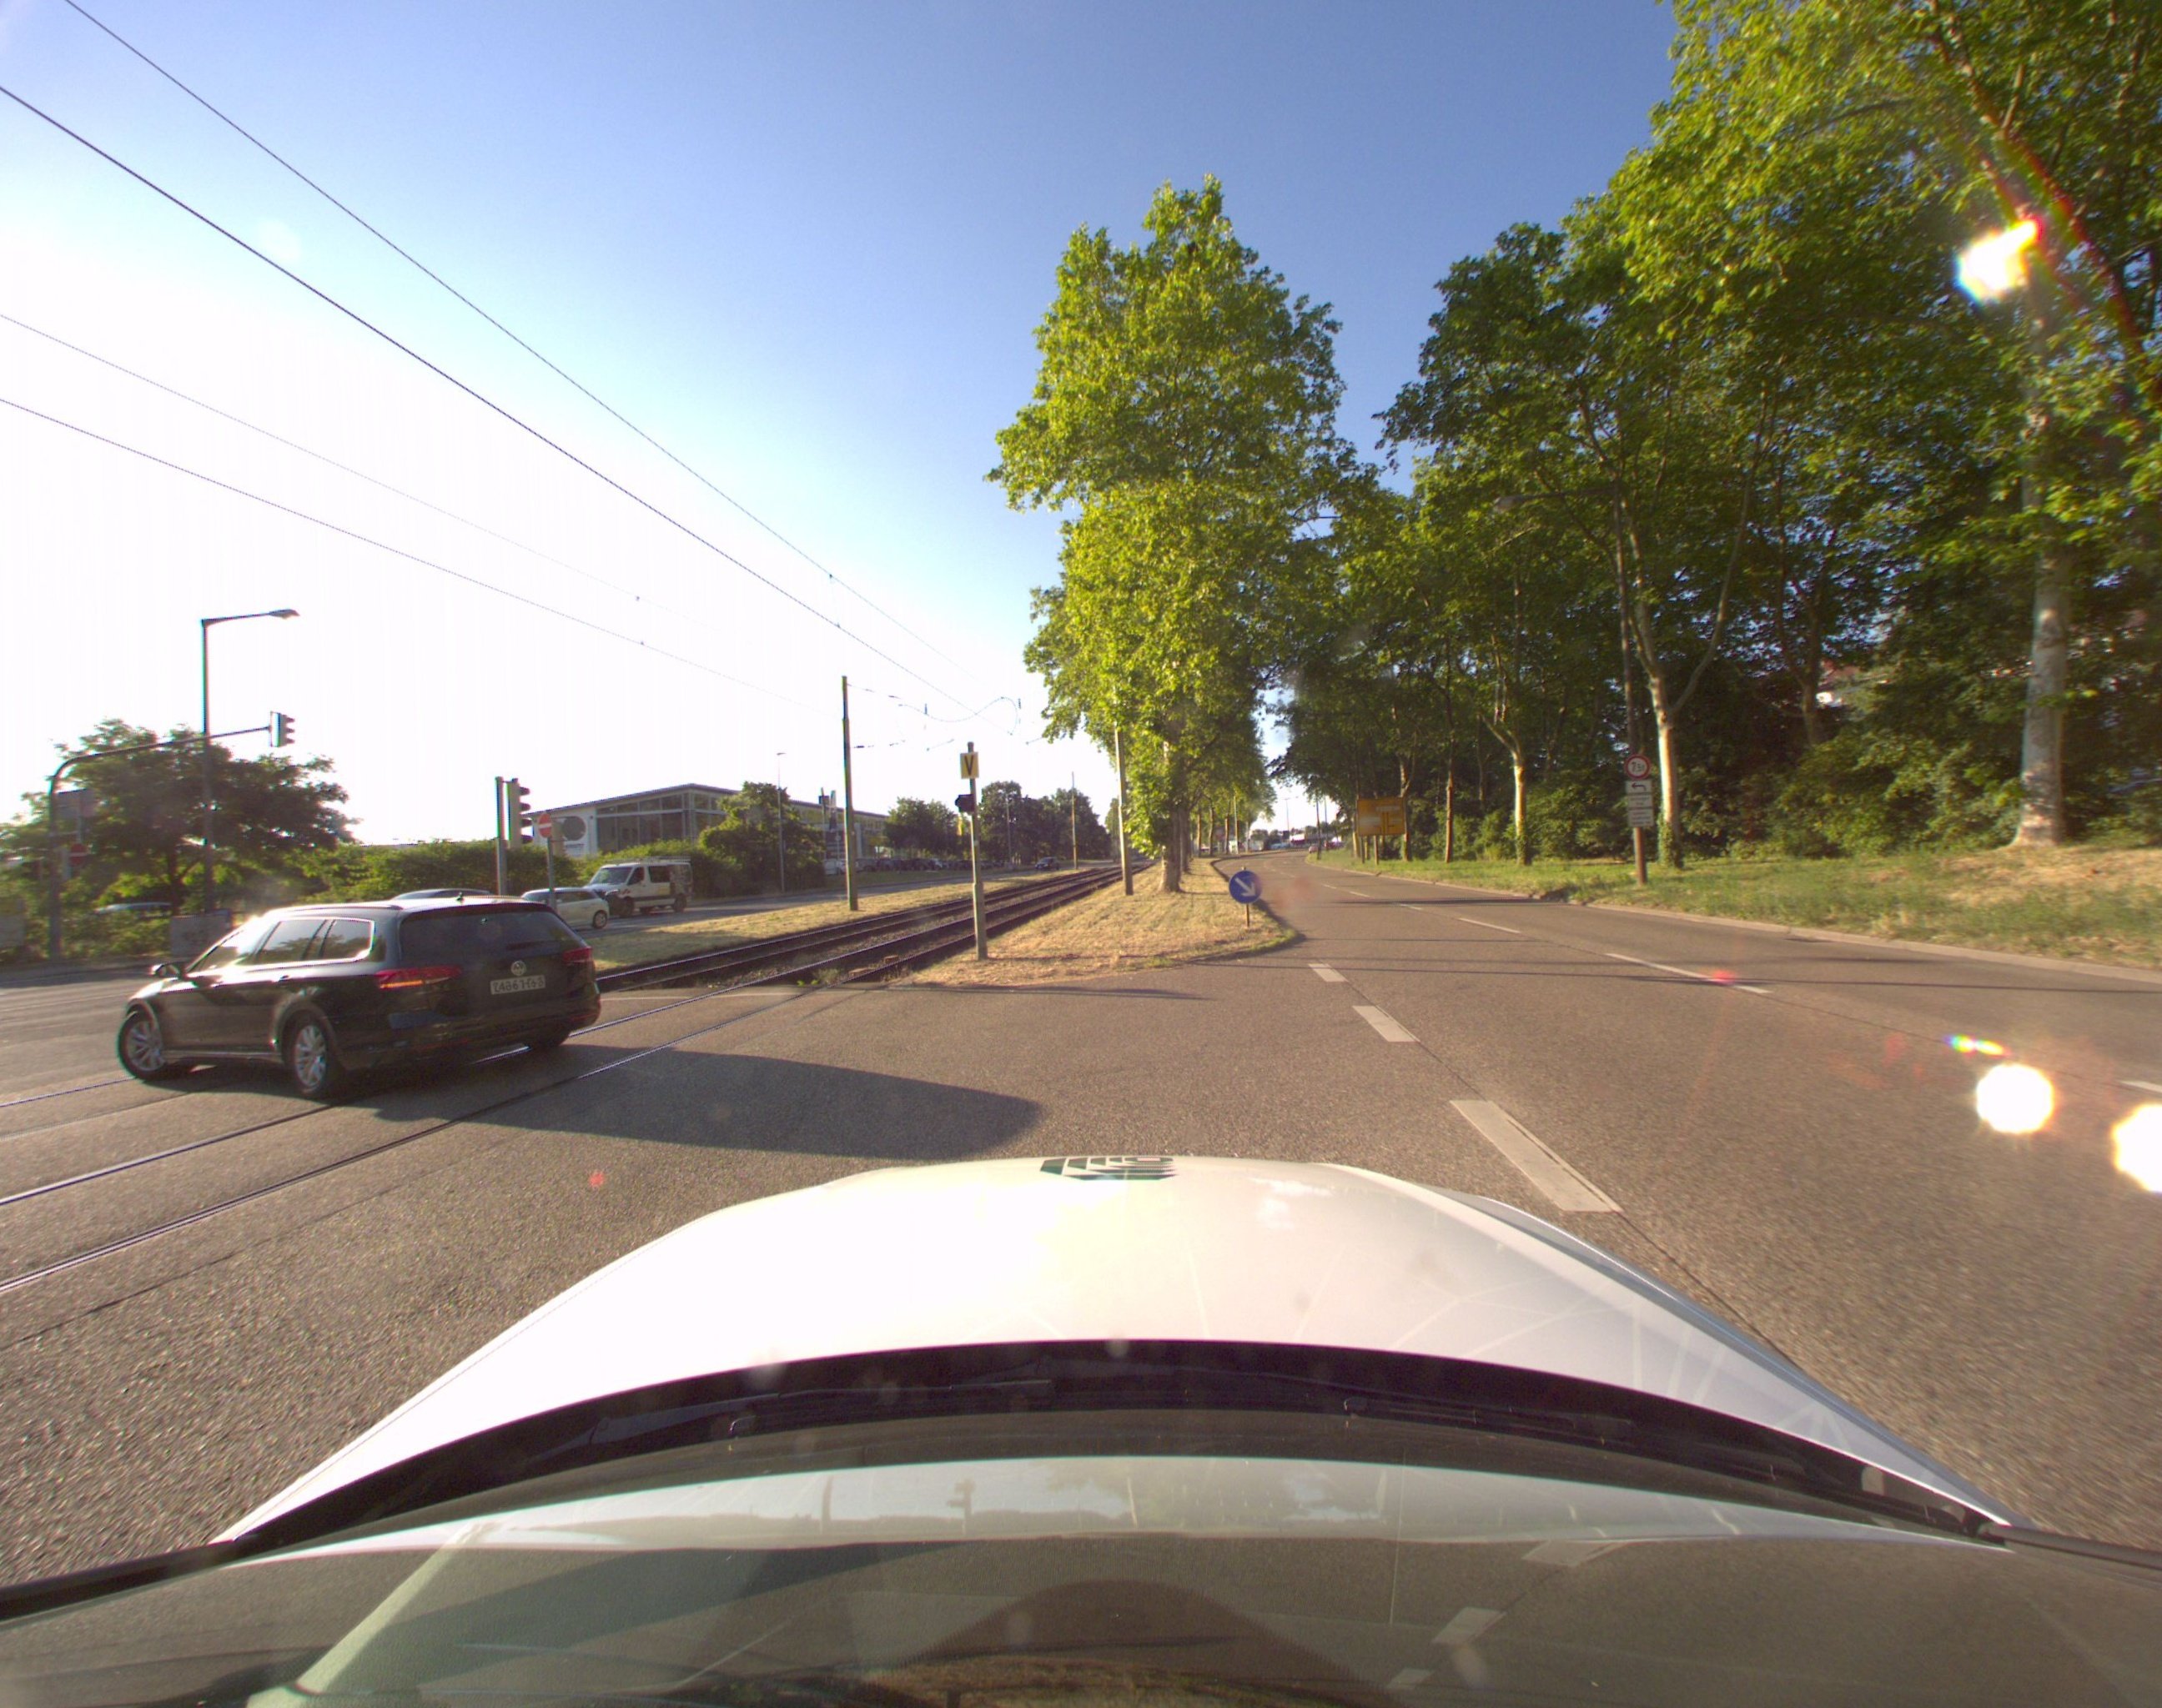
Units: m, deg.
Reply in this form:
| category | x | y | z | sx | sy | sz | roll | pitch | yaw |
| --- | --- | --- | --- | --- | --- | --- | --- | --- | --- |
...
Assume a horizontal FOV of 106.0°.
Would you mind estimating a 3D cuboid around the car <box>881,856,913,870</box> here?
| category | x | y | z | sx | sy | sz | roll | pitch | yaw |
| --- | --- | --- | --- | --- | --- | --- | --- | --- | --- |
| car | -22.472 | 1.133 | 99.572 | 3.790 | 1.567 | 1.752 | -2 | -1 | -12 |

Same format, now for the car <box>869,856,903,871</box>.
| category | x | y | z | sx | sy | sz | roll | pitch | yaw |
| --- | --- | --- | --- | --- | --- | --- | --- | --- | --- |
| car | -23.088 | 1.122 | 96.633 | 3.790 | 1.567 | 1.752 | -2 | -1 | -12 |

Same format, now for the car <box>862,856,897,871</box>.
| category | x | y | z | sx | sy | sz | roll | pitch | yaw |
| --- | --- | --- | --- | --- | --- | --- | --- | --- | --- |
| car | -23.130 | 1.092 | 93.773 | 3.790 | 1.567 | 1.752 | -2 | -1 | -12 |

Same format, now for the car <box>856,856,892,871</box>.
| category | x | y | z | sx | sy | sz | roll | pitch | yaw |
| --- | --- | --- | --- | --- | --- | --- | --- | --- | --- |
| car | -23.075 | 1.059 | 90.906 | 3.790 | 1.567 | 1.752 | -2 | -1 | -12 |

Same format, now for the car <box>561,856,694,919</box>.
| category | x | y | z | sx | sy | sz | roll | pitch | yaw |
| --- | --- | --- | --- | --- | --- | --- | --- | --- | --- |
| car | -20.346 | 1.402 | 36.934 | 1.991 | 2.566 | 5.890 | -2 | -1 | 8 |

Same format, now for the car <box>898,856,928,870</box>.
| category | x | y | z | sx | sy | sz | roll | pitch | yaw |
| --- | --- | --- | --- | --- | --- | --- | --- | --- | --- |
| car | -21.775 | 1.176 | 105.741 | 3.790 | 1.567 | 1.752 | -2 | -1 | -12 |

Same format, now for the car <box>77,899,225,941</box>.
| category | x | y | z | sx | sy | sz | roll | pitch | yaw |
| --- | --- | --- | --- | --- | --- | --- | --- | --- | --- |
| car | -43.513 | 3.056 | 38.236 | 2.097 | 1.637 | 4.018 | -2 | -1 | 17 |

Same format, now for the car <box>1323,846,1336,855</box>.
| category | x | y | z | sx | sy | sz | roll | pitch | yaw |
| --- | --- | --- | --- | --- | --- | --- | --- | --- | --- |
| car | 40.511 | -0.593 | 132.829 | 1.978 | 1.439 | 4.017 | -2 | -1 | 16 |

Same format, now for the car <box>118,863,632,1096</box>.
| category | x | y | z | sx | sy | sz | roll | pitch | yaw |
| --- | --- | --- | --- | --- | --- | --- | --- | --- | --- |
| car | -6.291 | 0.937 | 7.235 | 4.206 | 1.556 | 1.841 | -2 | -1 | 25 |

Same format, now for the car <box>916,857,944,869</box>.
| category | x | y | z | sx | sy | sz | roll | pitch | yaw |
| --- | --- | --- | --- | --- | --- | --- | --- | --- | --- |
| car | -20.742 | 1.206 | 111.831 | 3.790 | 1.567 | 1.752 | -2 | -1 | -12 |

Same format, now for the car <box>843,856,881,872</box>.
| category | x | y | z | sx | sy | sz | roll | pitch | yaw |
| --- | --- | --- | --- | --- | --- | --- | --- | --- | --- |
| car | -23.572 | 1.041 | 87.691 | 3.790 | 1.567 | 1.752 | -2 | -1 | -12 |

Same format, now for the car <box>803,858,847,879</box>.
| category | x | y | z | sx | sy | sz | roll | pitch | yaw |
| --- | --- | --- | --- | --- | --- | --- | --- | --- | --- |
| car | -24.441 | 1.421 | 77.897 | 3.790 | 1.860 | 1.752 | -2 | -1 | -12 |

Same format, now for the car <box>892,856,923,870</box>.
| category | x | y | z | sx | sy | sz | roll | pitch | yaw |
| --- | --- | --- | --- | --- | --- | --- | --- | --- | --- |
| car | -21.941 | 1.151 | 102.928 | 3.790 | 1.567 | 1.752 | -2 | -1 | -12 |

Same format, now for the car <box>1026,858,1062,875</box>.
| category | x | y | z | sx | sy | sz | roll | pitch | yaw |
| --- | --- | --- | --- | --- | --- | --- | --- | --- | --- |
| car | -4.107 | 1.368 | 90.085 | 1.791 | 1.684 | 4.026 | -3 | 0 | 36 |

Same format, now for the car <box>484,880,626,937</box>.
| category | x | y | z | sx | sy | sz | roll | pitch | yaw |
| --- | --- | --- | --- | --- | --- | --- | --- | --- | --- |
| car | -17.687 | 1.795 | 27.638 | 1.860 | 1.618 | 4.008 | -2 | 0 | 7 |

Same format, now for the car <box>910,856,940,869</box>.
| category | x | y | z | sx | sy | sz | roll | pitch | yaw |
| --- | --- | --- | --- | --- | --- | --- | --- | --- | --- |
| car | -20.890 | 1.181 | 109.032 | 3.790 | 1.567 | 1.752 | -2 | -1 | -12 |

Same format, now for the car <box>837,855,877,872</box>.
| category | x | y | z | sx | sy | sz | roll | pitch | yaw |
| --- | --- | --- | --- | --- | --- | --- | --- | --- | --- |
| car | -23.447 | 1.011 | 85.321 | 3.790 | 1.567 | 1.752 | -2 | -1 | -12 |

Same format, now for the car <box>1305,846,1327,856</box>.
| category | x | y | z | sx | sy | sz | roll | pitch | yaw |
| --- | --- | --- | --- | --- | --- | --- | --- | --- | --- |
| car | 35.527 | -0.485 | 123.156 | 1.974 | 1.442 | 4.026 | -3 | -1 | 33 |

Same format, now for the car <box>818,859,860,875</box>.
| category | x | y | z | sx | sy | sz | roll | pitch | yaw |
| --- | --- | --- | --- | --- | --- | --- | --- | --- | --- |
| car | -24.094 | 1.275 | 81.153 | 3.790 | 1.388 | 1.752 | -2 | -1 | -12 |

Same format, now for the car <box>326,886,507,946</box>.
| category | x | y | z | sx | sy | sz | roll | pitch | yaw |
| --- | --- | --- | --- | --- | --- | --- | --- | --- | --- |
| car | -21.716 | 1.968 | 26.894 | 1.860 | 1.618 | 4.557 | -2 | 0 | 7 |
